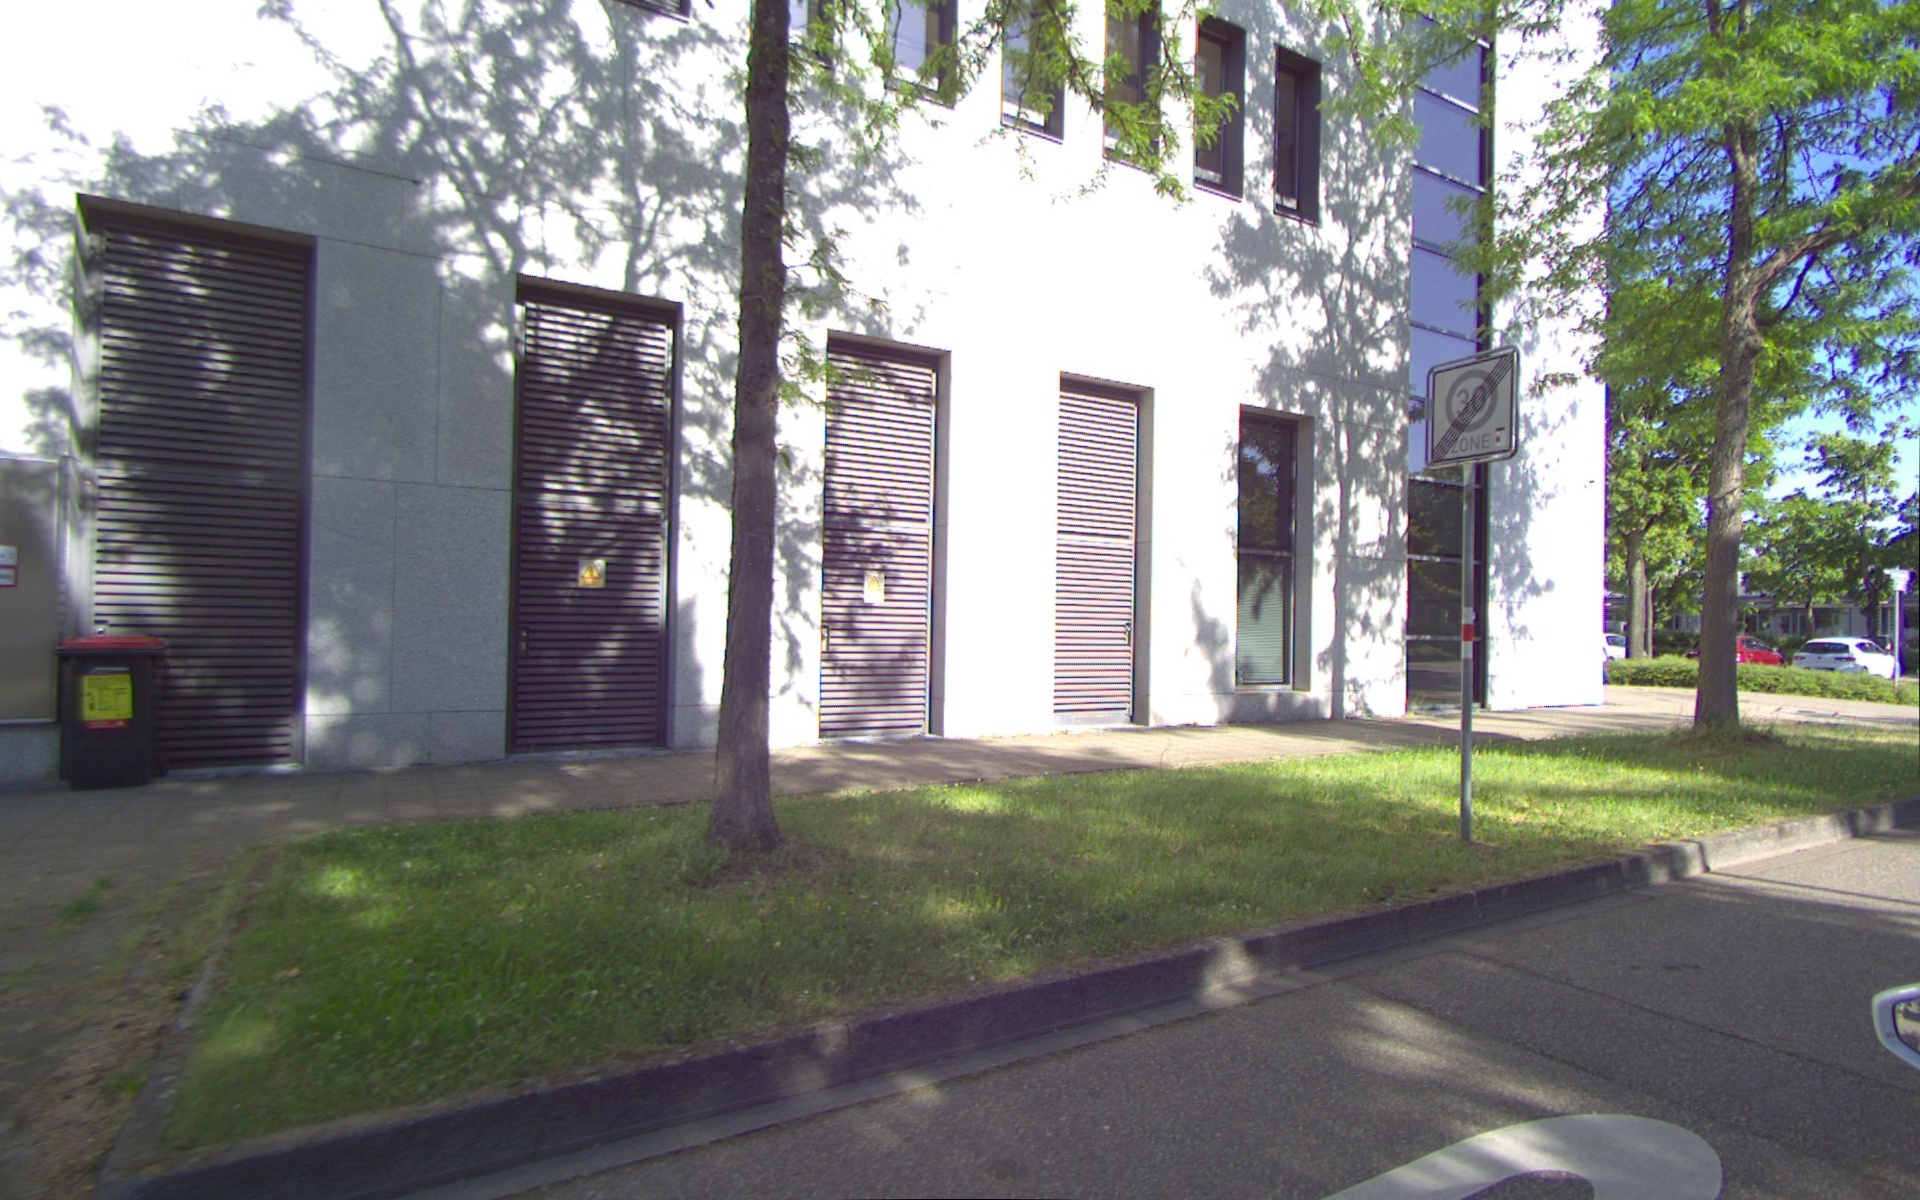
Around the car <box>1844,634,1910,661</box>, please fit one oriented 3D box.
[{"bbox_3d":[55.858,2.870,61.168,3.859,1.517,1.829,1,-1,-28],"label":"car"}]

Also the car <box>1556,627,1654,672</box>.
[{"bbox_3d":[24.672,1.877,38.388,3.868,1.599,1.665,1,0,-32],"label":"car"}]

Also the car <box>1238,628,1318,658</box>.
[{"bbox_3d":[16.099,2.149,50.797,3.699,1.435,1.829,1,-1,-29],"label":"car"}]

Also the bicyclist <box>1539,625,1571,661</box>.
[{"bbox_3d":[25.715,1.847,43.395,0.589,1.544,1.007,1,0,-28],"label":"bicyclist"}]

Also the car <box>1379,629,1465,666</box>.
[{"bbox_3d":[20.434,2.072,44.387,3.868,1.487,1.607,1,0,-32],"label":"car"}]

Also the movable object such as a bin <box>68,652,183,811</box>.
[{"bbox_3d":[-6.005,0.919,7.255,0.537,1.054,0.590,1,0,-31],"label":"movable object such as a bin"}]

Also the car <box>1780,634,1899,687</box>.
[{"bbox_3d":[27.627,1.855,31.539,3.868,1.456,1.793,0,0,-32],"label":"car"}]

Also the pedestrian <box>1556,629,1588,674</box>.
[{"bbox_3d":[22.654,1.908,37.203,0.752,1.600,0.674,1,0,-2],"label":"pedestrian"}]

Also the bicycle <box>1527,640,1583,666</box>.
[{"bbox_3d":[25.703,2.292,43.413,0.589,1.009,2.073,1,0,-28],"label":"bicycle"}]

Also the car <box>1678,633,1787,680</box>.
[{"bbox_3d":[26.134,1.880,33.961,3.868,1.445,1.658,1,0,-32],"label":"car"}]

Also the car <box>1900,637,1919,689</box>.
[{"bbox_3d":[28.980,1.774,28.907,4.121,1.425,1.813,0,-1,-32],"label":"car"}]
